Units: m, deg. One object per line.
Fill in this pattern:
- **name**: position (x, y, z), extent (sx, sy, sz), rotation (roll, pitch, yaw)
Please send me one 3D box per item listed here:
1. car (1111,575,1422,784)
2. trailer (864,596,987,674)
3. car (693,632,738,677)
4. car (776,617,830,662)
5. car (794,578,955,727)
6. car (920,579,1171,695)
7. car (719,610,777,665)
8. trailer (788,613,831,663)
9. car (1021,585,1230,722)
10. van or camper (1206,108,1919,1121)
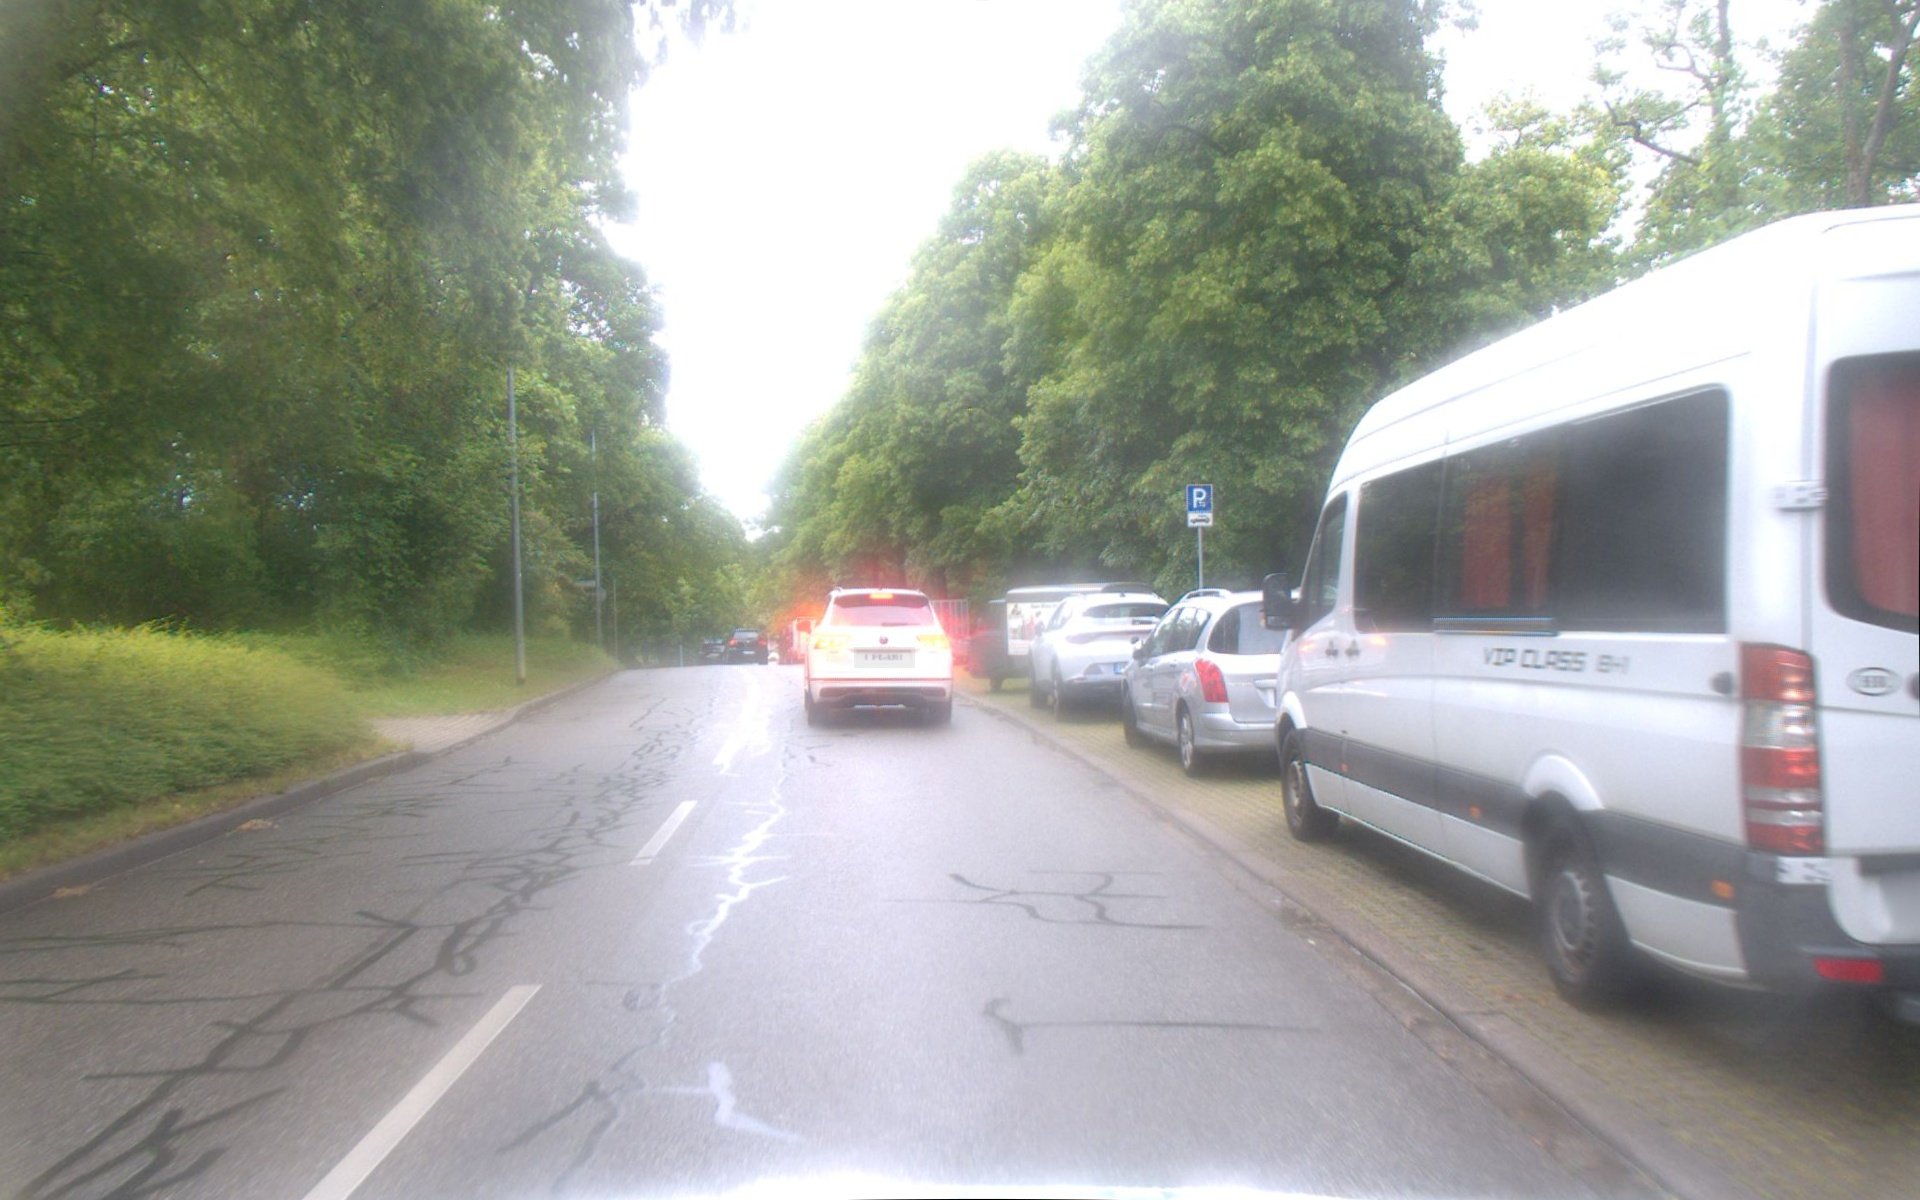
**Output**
- **car**: position (2.649, 0.615, 15.335), extent (1.769, 1.565, 4.264), rotation (-3, 1, -4)
- **trailer**: position (-1.025, 0.954, 44.103), extent (2.405, 1.844, 5.878), rotation (-2, -1, -9)
- **car**: position (-12.917, 2.854, 87.237), extent (1.960, 2.048, 3.986), rotation (-2, 2, -14)
- **car**: position (-7.641, 1.952, 80.048), extent (1.958, 1.943, 5.492), rotation (-2, -3, -12)
- **car**: position (-1.017, 0.636, 21.635), extent (1.866, 1.715, 4.200), rotation (-1, 0, 0)
- **car**: position (1.328, 0.628, 26.887), extent (3.937, 1.710, 1.601), rotation (-3, -1, 43)
- **car**: position (-8.930, 1.525, 69.348), extent (1.960, 2.048, 3.986), rotation (-2, 2, -14)
- **trailer**: position (-6.871, 1.760, 75.375), extent (1.502, 2.112, 3.989), rotation (-3, -2, -10)
- **car**: position (2.030, 0.598, 21.663), extent (1.954, 1.523, 4.563), rotation (-2, 1, -4)
- **van or camper**: position (3.100, -0.098, 8.562), extent (1.976, 2.627, 8.433), rotation (-3, 1, -2)
